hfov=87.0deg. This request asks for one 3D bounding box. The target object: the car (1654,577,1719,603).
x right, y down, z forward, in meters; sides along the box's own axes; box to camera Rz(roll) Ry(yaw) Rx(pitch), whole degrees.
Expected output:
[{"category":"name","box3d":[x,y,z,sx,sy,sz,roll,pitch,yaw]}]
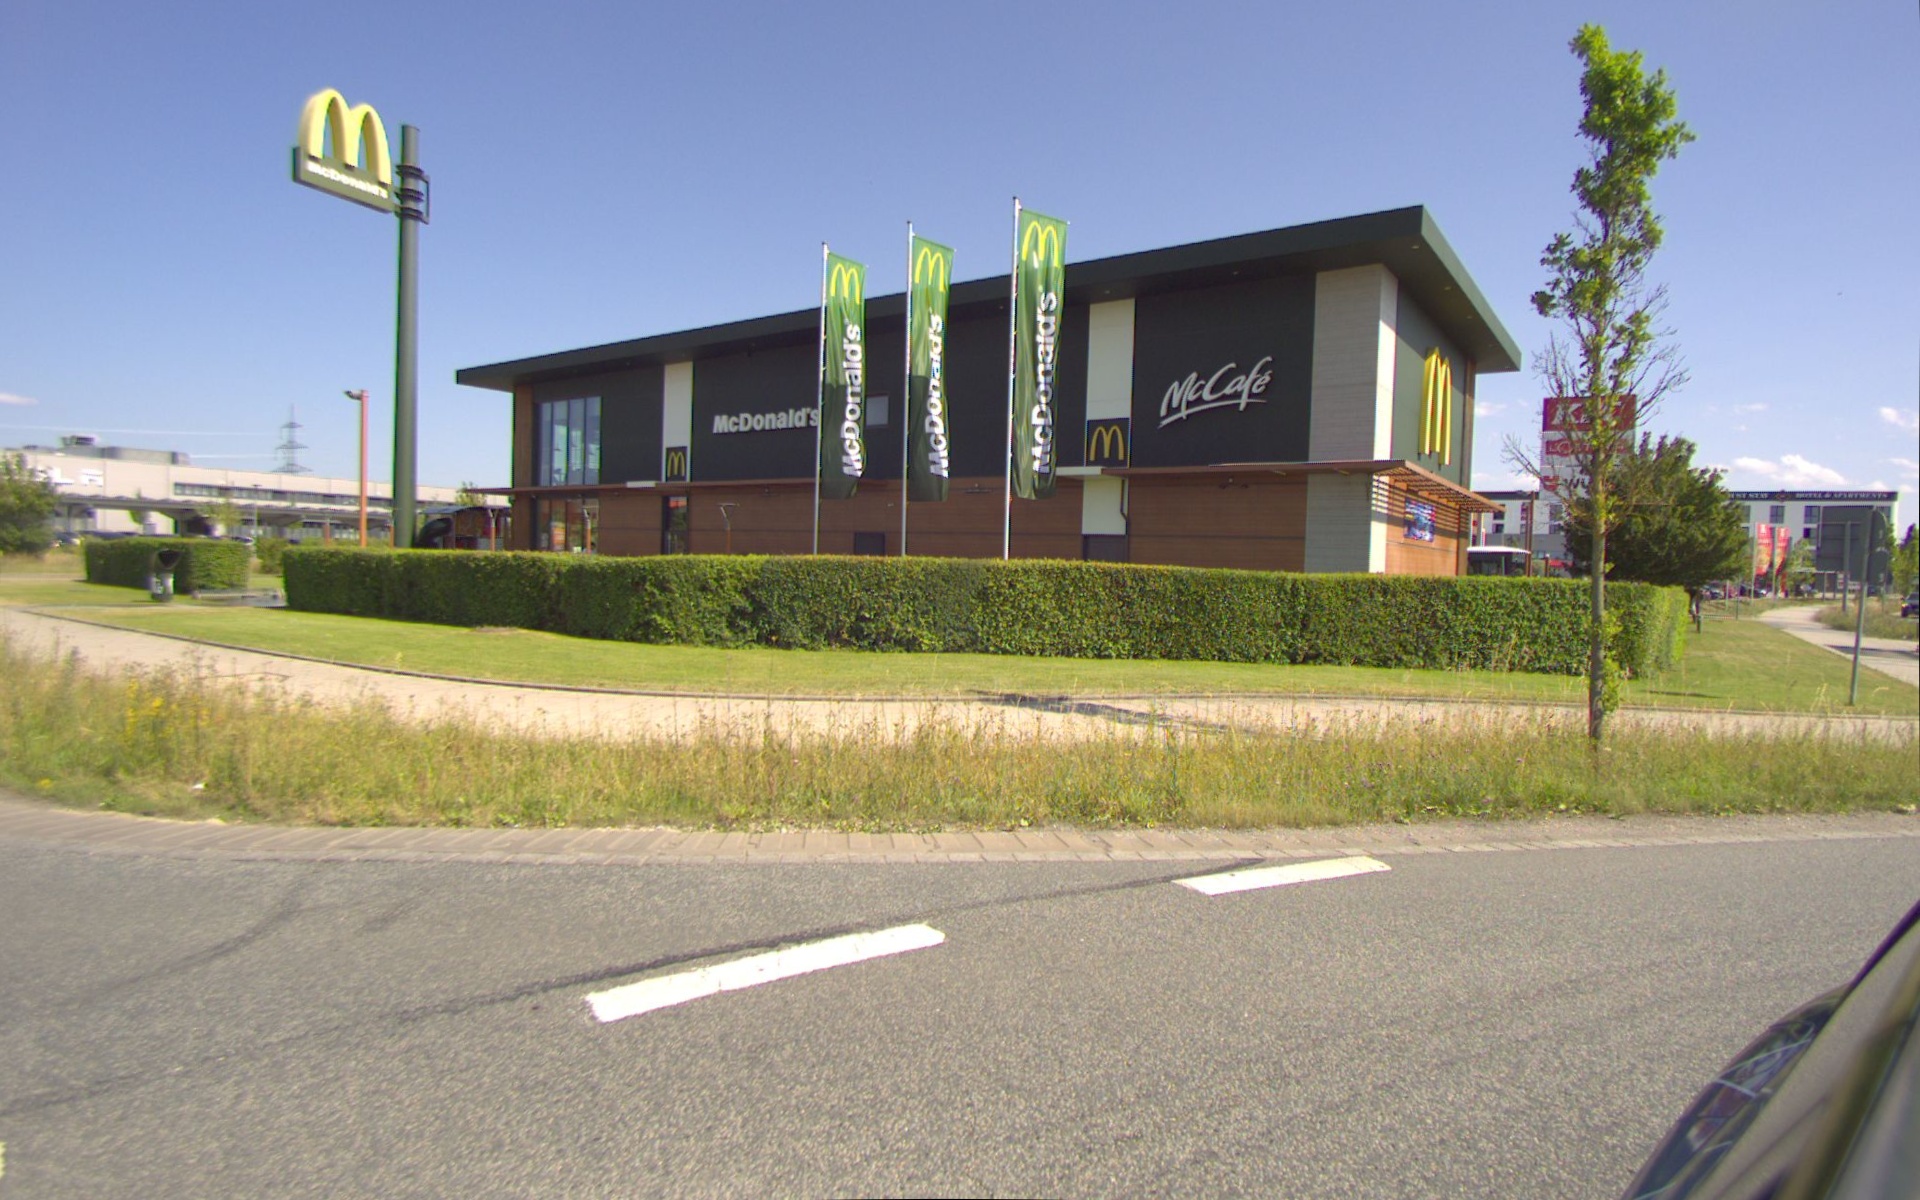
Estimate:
[{"category":"car","box3d":[62.709,-0.883,87.360,1.899,2.038,4.183,0,3,-40]}]

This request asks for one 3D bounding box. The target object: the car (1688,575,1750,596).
[{"category":"car","box3d":[70.659,-1.319,94.272,1.790,1.783,4.187,0,3,-37]}]

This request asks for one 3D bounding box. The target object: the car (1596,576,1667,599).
[{"category":"car","box3d":[53.382,-0.998,80.514,4.429,1.673,1.904,4,3,43]}]

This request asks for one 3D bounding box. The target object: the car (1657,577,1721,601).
[{"category":"car","box3d":[64.217,-0.971,89.221,1.769,1.880,4.188,0,3,-36]}]
